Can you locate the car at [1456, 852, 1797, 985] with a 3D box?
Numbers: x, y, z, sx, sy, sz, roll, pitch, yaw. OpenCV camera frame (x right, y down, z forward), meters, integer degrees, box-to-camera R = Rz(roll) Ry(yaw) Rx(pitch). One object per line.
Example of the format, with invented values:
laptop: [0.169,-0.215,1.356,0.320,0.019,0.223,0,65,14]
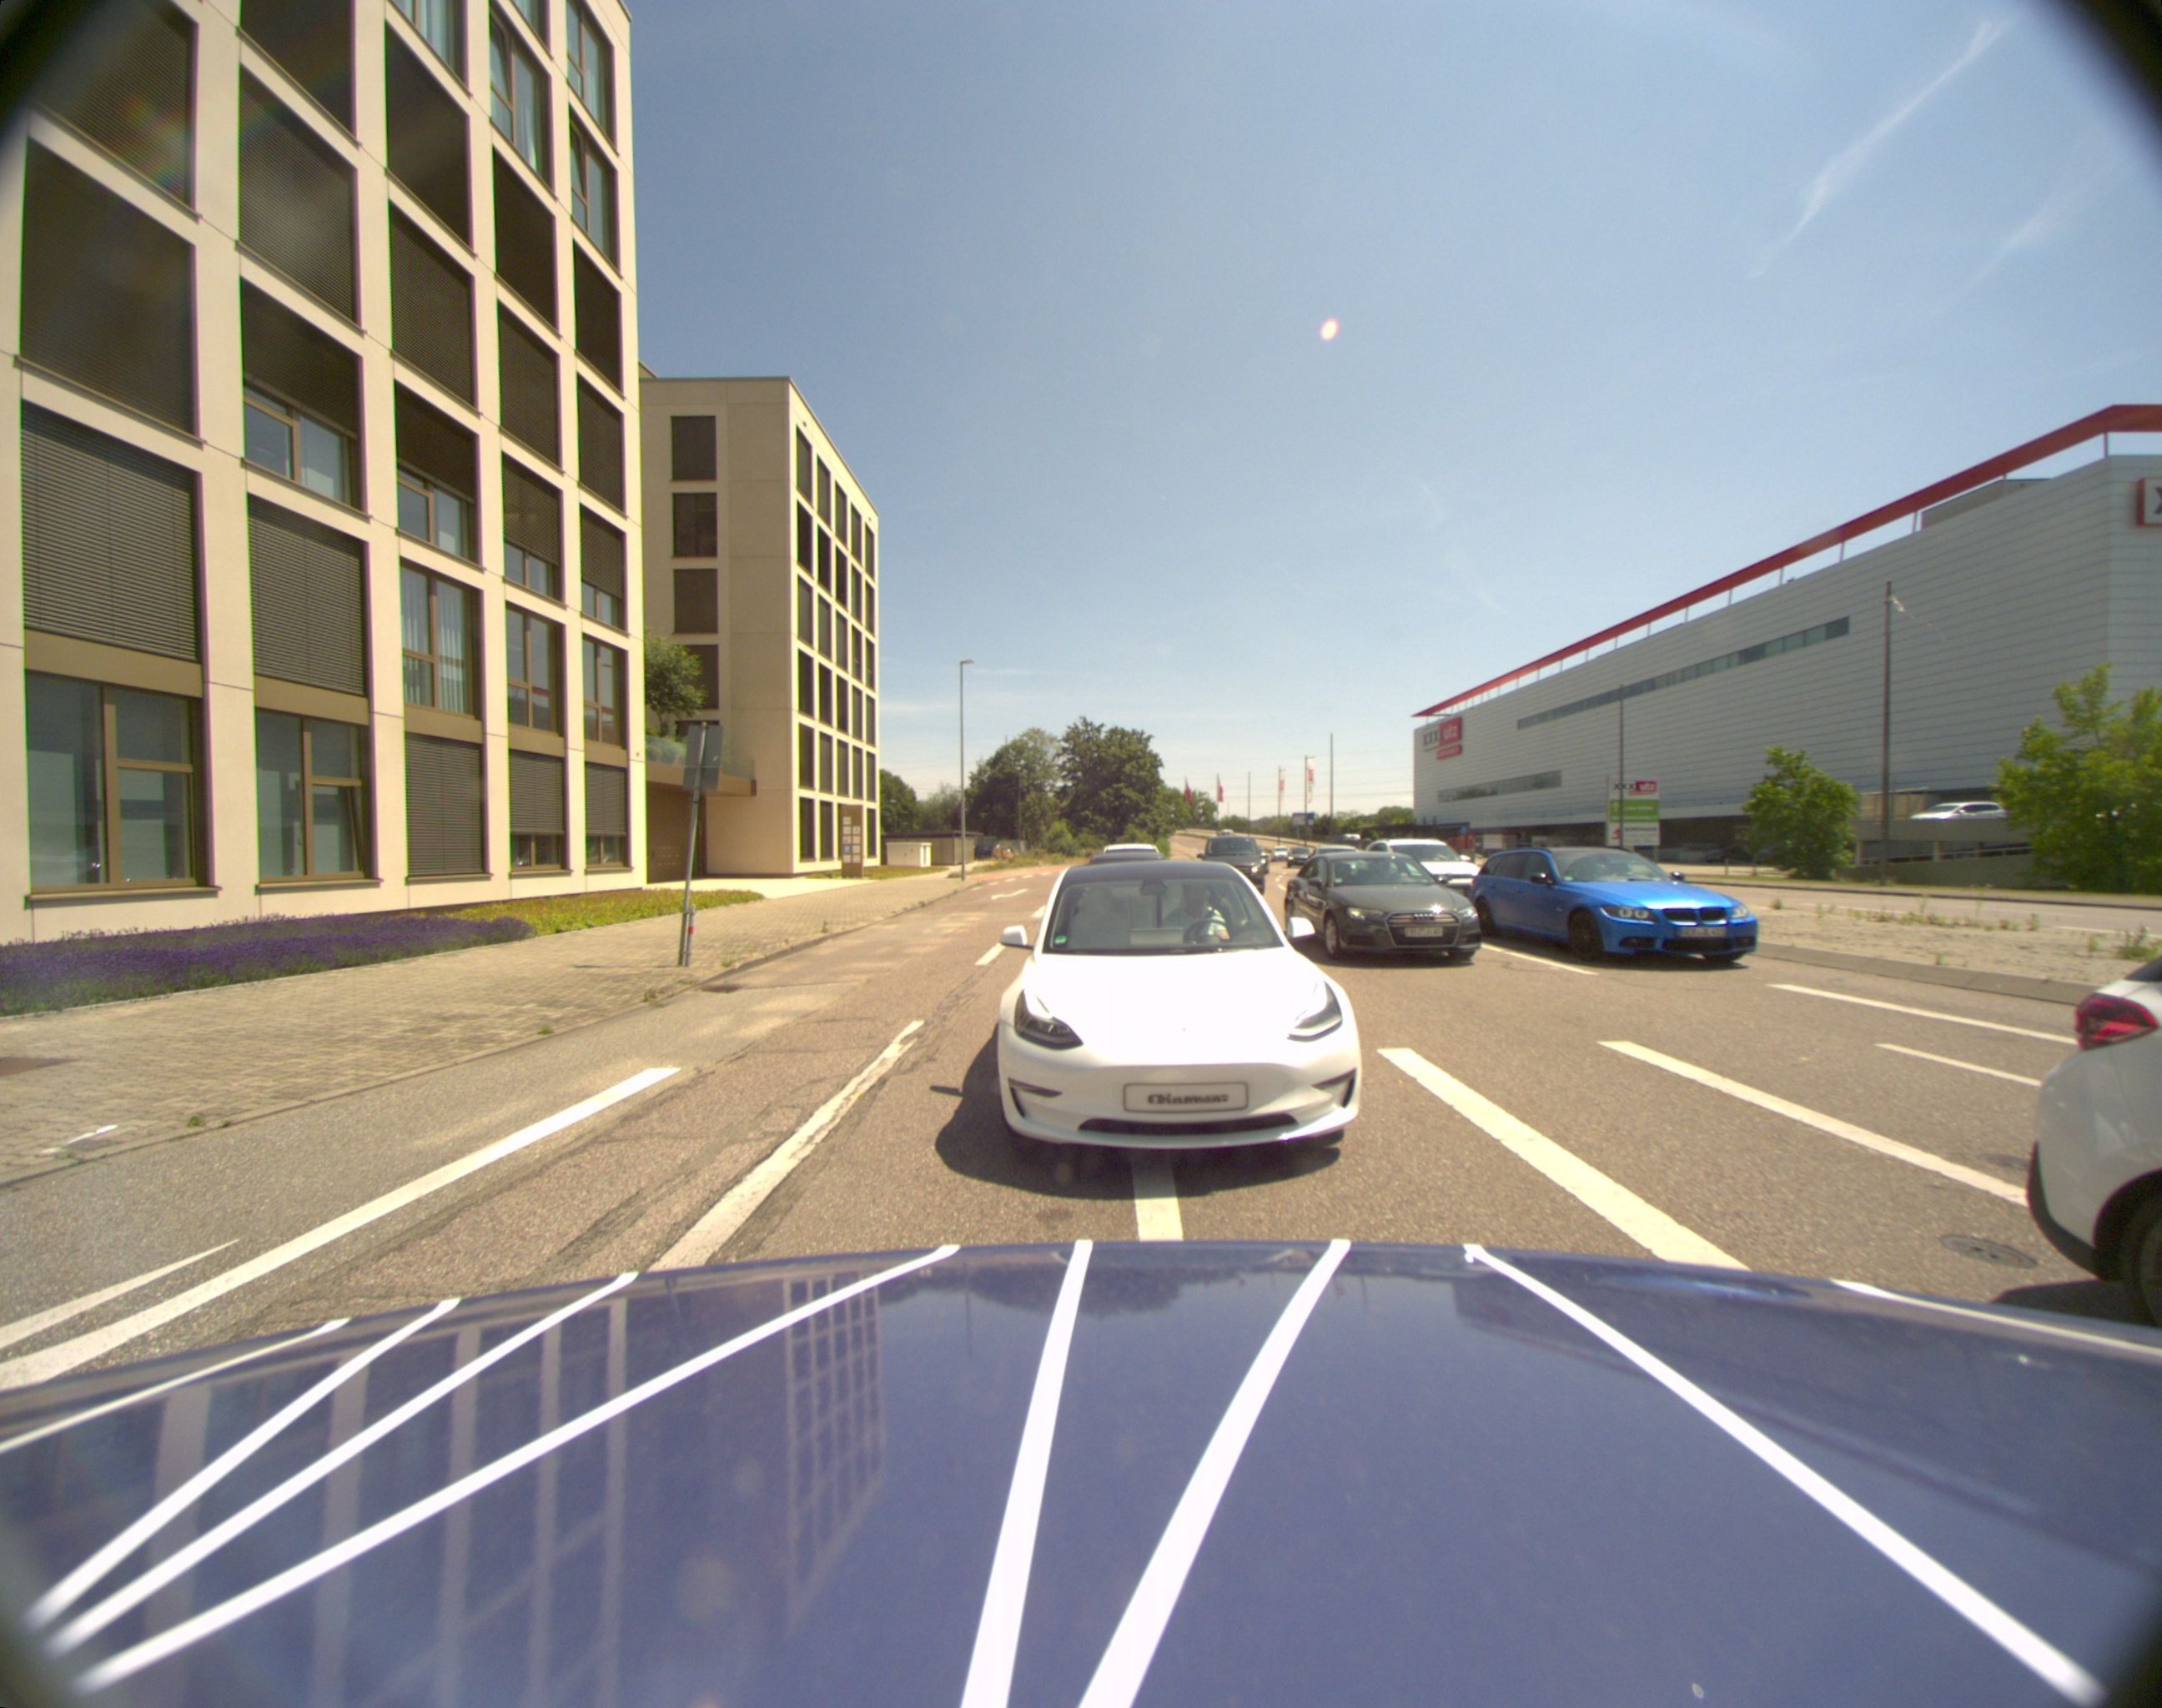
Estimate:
car: [7.122,0.716,10.624,1.769,1.395,4.432,-2,1,3]

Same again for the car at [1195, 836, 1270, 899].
car: [4.862,0.364,25.062,1.895,1.811,4.838,-1,1,5]

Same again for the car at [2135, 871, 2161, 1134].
car: [6.516,0.780,1.886,1.675,1.396,4.467,0,0,2]

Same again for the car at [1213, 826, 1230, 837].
car: [24.613,-3.929,133.269,1.868,1.713,4.039,-1,1,-8]

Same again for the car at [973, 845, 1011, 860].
car: [-9.292,-0.192,79.210,3.834,1.543,1.736,0,1,-13]

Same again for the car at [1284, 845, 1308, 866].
car: [16.342,0.101,57.791,1.724,1.543,4.004,0,1,16]

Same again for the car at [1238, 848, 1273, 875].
car: [10.030,0.393,43.526,1.606,1.431,3.738,0,1,19]

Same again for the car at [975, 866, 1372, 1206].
car: [0.468,0.897,5.734,1.823,1.428,4.283,-2,1,1]

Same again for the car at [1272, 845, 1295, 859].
car: [20.915,-0.215,78.609,1.725,1.463,4.001,0,1,6]

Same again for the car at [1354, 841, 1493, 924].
car: [7.689,0.549,17.509,1.768,1.632,4.494,-2,1,9]

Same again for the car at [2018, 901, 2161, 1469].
car: [3.628,0.859,0.193,1.792,1.428,4.070,-2,1,1]

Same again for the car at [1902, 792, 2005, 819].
car: [51.595,-2.866,44.985,3.996,1.499,1.717,0,1,2]

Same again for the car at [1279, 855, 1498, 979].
car: [4.110,0.746,10.903,1.769,1.374,4.090,-1,1,5]

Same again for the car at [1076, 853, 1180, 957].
car: [0.861,0.762,13.386,1.556,1.528,3.821,0,1,5]

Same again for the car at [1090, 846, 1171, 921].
car: [1.246,0.644,18.710,1.777,1.600,3.821,0,2,5]

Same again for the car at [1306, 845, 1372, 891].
car: [8.771,0.423,26.119,1.767,1.414,3.903,-2,0,14]

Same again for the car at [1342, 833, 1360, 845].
car: [51.988,-2.956,146.348,2.191,2.270,4.814,0,1,4]

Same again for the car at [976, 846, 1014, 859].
car: [-9.178,-0.151,81.242,3.834,1.386,1.736,0,1,-13]
